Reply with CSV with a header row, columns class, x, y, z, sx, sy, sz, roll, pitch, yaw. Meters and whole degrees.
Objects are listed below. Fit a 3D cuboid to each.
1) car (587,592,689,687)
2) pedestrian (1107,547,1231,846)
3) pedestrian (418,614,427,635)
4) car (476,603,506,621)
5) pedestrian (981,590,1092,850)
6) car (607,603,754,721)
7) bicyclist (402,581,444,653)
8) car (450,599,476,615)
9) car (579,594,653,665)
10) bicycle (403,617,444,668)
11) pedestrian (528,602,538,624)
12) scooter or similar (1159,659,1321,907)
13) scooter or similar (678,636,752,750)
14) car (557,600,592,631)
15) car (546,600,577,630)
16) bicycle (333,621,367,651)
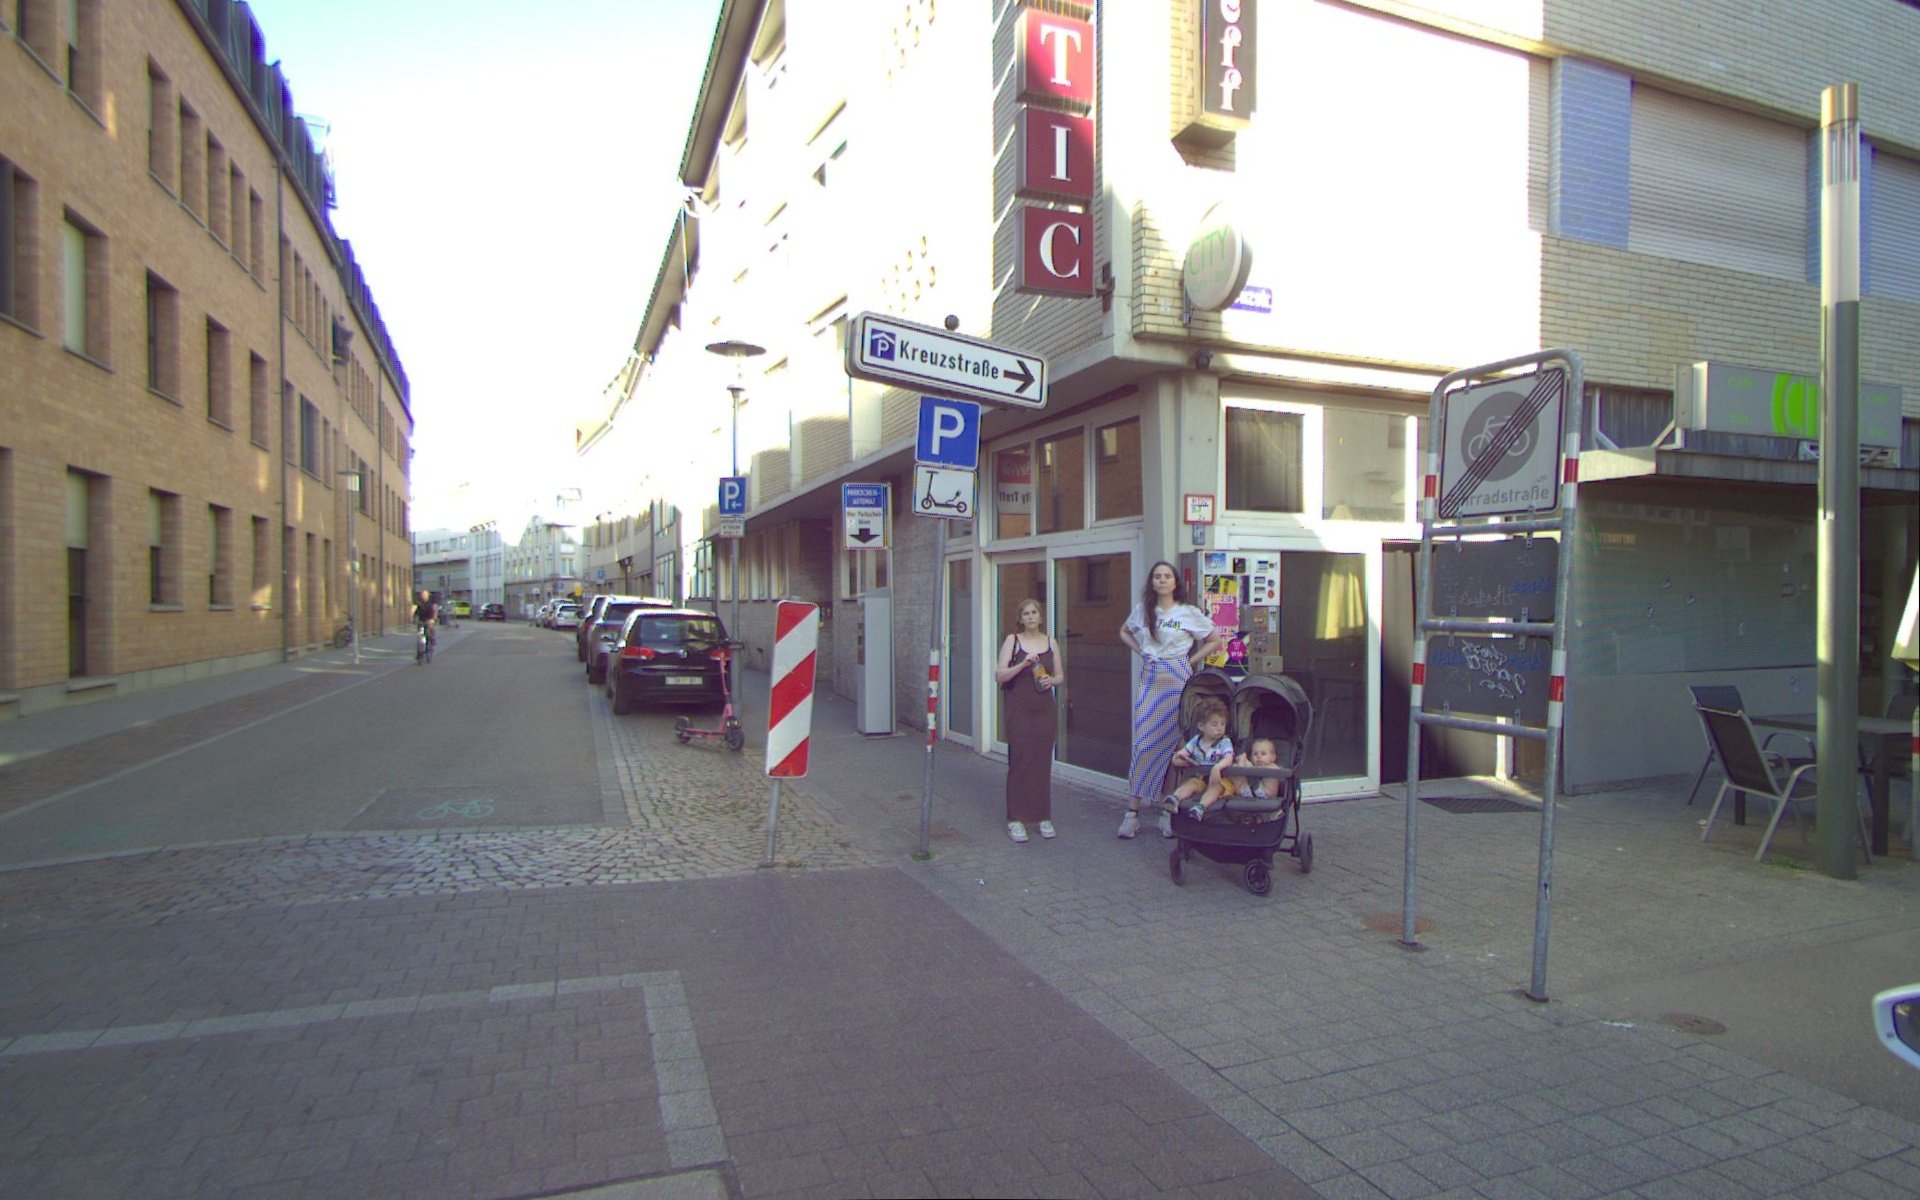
class,x,y,z,sx,sy,sz,roll,pitch,yaw
car,-6.539,0.749,20.140,1.649,1.683,4.060,2,-1,-22
pedestrian,1.379,0.604,6.580,0.647,1.844,0.570,-2,1,20
pedestrian,-40.752,1.832,76.205,0.535,1.565,0.403,1,0,-23
car,-43.836,1.118,93.867,1.917,1.673,3.798,0,0,-35
pedestrian,0.490,0.752,6.586,0.525,1.601,0.509,-3,1,-15
car,-4.345,0.855,15.230,1.715,1.506,3.792,2,0,-22
bicyclist,-13.024,0.402,24.391,0.762,1.678,0.951,-3,1,-25
car,-53.107,0.752,107.207,1.917,1.673,3.798,1,-1,-35
car,-9.264,0.750,26.907,1.649,1.727,3.992,2,-1,-22
bicycle,-12.986,1.003,24.363,0.695,1.118,1.817,-4,1,-24
pedestrian,-29.272,0.865,68.904,0.564,1.499,0.470,0,0,-29
scooter or similar,1.586,0.949,5.603,0.783,1.159,0.953,0,1,21
scooter or similar,-2.683,0.997,10.980,0.866,1.199,0.208,0,0,29
car,-22.052,0.886,57.472,1.670,1.701,3.487,2,-1,-24
car,-24.917,0.943,62.773,1.670,1.799,3.635,2,-1,-24
bicycle,-19.955,1.164,32.911,0.634,0.893,2.541,1,-1,-24
